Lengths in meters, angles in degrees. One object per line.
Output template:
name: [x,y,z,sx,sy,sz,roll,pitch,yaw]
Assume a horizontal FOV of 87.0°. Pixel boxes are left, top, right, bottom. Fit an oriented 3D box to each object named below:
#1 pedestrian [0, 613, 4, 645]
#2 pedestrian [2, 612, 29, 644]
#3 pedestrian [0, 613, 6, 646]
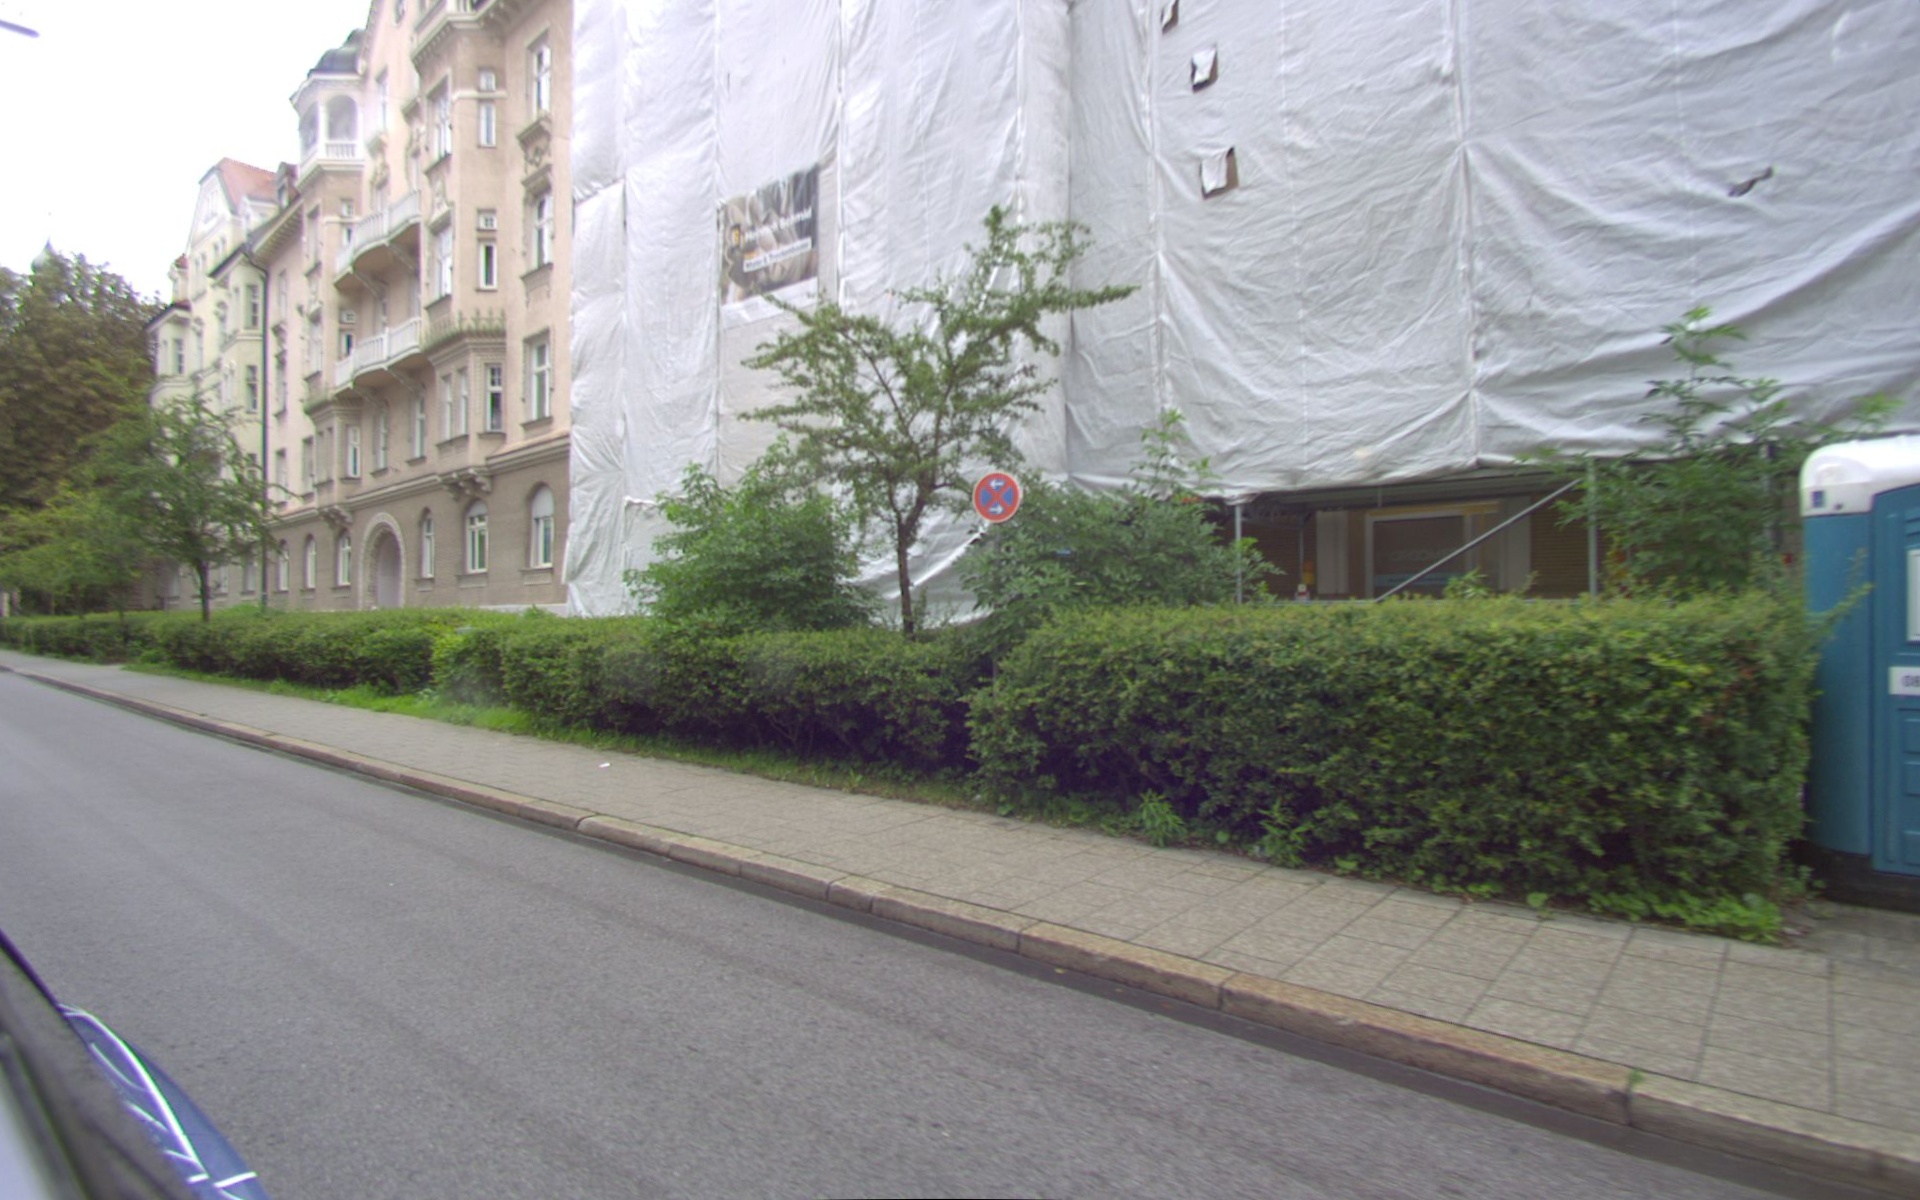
pedestrian: [-52.095,1.562,54.416,0.910,1.758,0.864,-1,-2,41]
pedestrian: [-51.563,1.528,55.244,0.773,1.758,0.878,0,-1,-17]
pedestrian: [-50.838,1.554,53.197,0.846,1.758,0.898,-1,-2,40]
